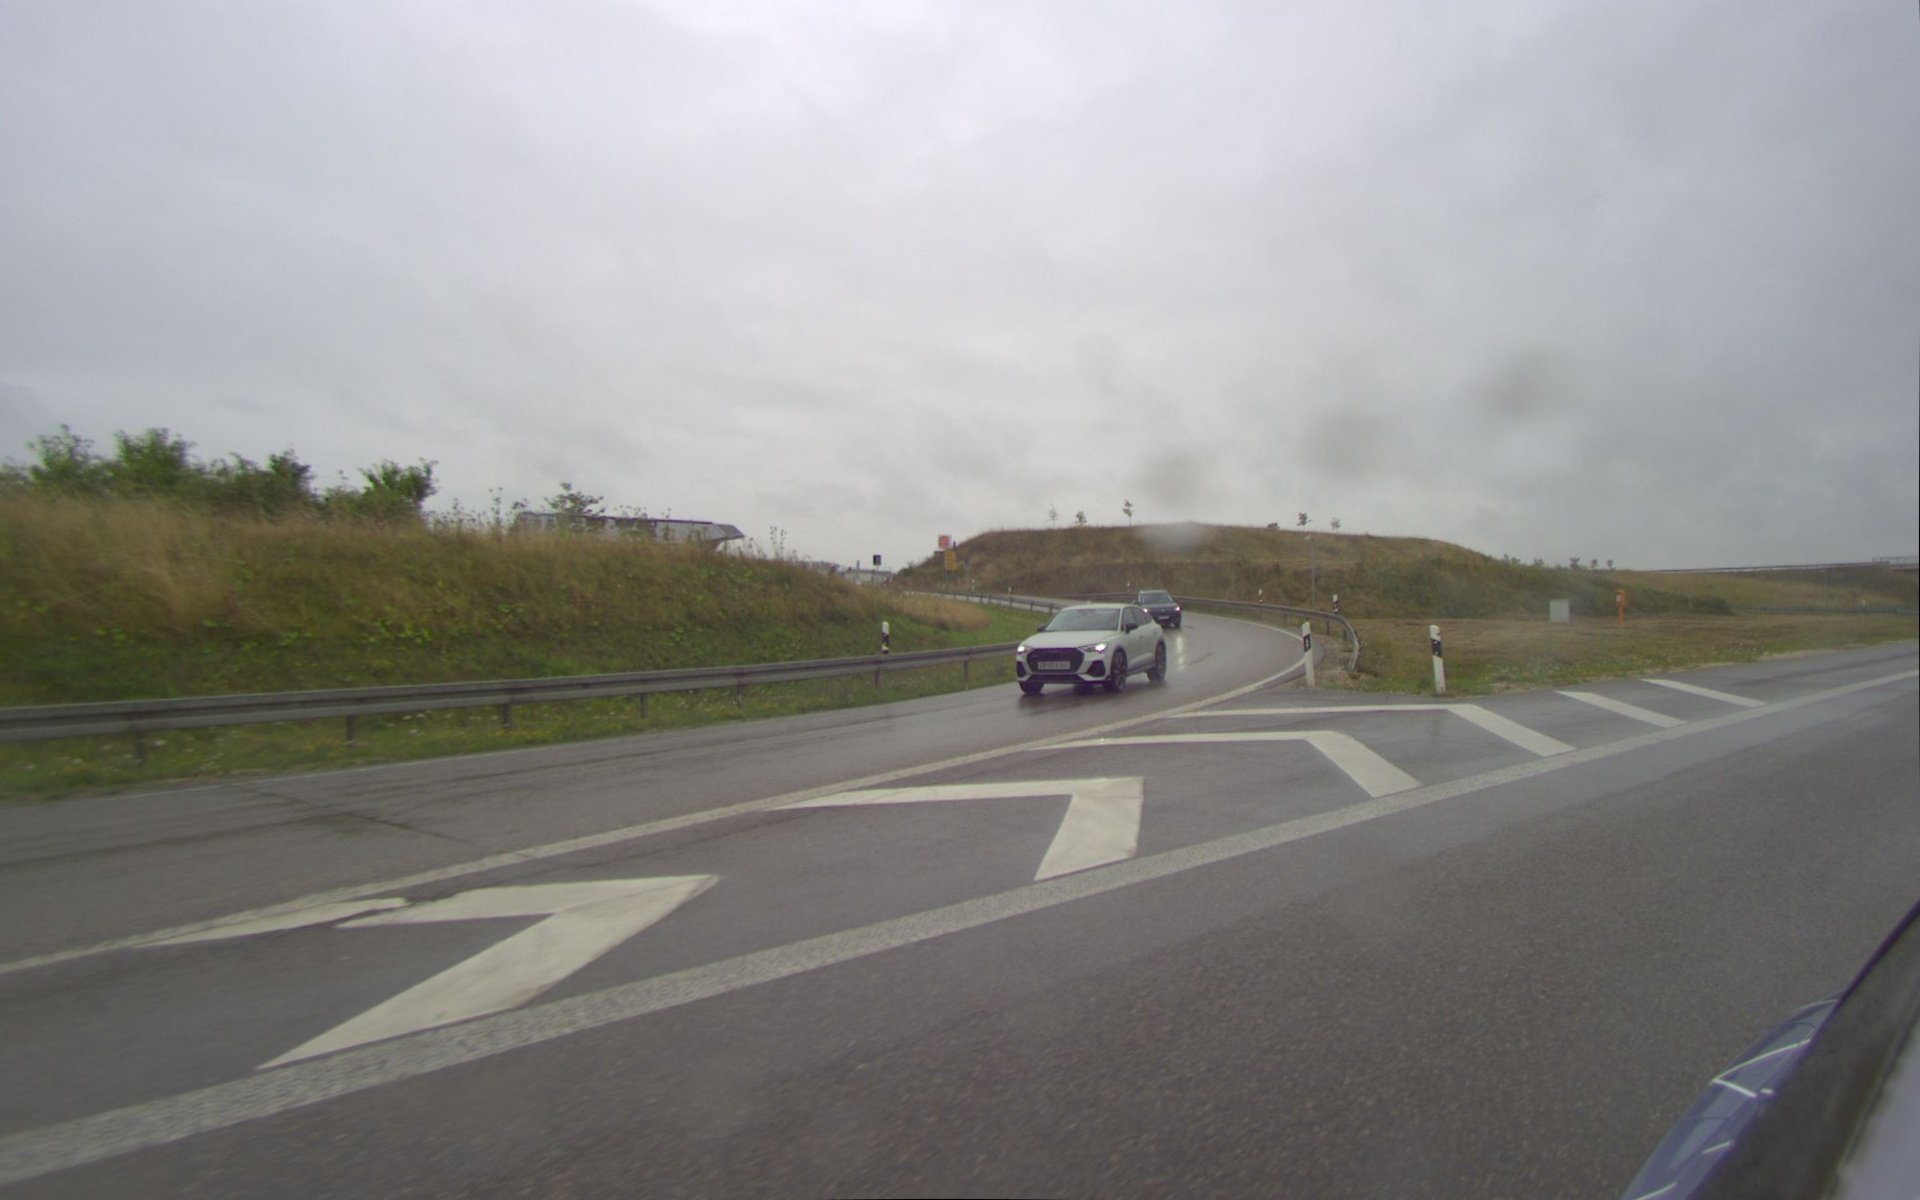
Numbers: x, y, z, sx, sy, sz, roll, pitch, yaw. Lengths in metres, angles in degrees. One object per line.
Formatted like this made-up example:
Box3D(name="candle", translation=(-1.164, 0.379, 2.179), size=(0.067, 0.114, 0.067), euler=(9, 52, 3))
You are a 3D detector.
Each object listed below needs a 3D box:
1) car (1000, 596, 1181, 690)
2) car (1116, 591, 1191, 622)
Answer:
Box3D(name="car", translation=(2.568, 0.725, 18.913), size=(1.896, 1.504, 4.434), euler=(-2, -1, 28))
Box3D(name="car", translation=(8.801, 0.273, 46.425), size=(1.782, 1.304, 4.009), euler=(0, 1, -16))
